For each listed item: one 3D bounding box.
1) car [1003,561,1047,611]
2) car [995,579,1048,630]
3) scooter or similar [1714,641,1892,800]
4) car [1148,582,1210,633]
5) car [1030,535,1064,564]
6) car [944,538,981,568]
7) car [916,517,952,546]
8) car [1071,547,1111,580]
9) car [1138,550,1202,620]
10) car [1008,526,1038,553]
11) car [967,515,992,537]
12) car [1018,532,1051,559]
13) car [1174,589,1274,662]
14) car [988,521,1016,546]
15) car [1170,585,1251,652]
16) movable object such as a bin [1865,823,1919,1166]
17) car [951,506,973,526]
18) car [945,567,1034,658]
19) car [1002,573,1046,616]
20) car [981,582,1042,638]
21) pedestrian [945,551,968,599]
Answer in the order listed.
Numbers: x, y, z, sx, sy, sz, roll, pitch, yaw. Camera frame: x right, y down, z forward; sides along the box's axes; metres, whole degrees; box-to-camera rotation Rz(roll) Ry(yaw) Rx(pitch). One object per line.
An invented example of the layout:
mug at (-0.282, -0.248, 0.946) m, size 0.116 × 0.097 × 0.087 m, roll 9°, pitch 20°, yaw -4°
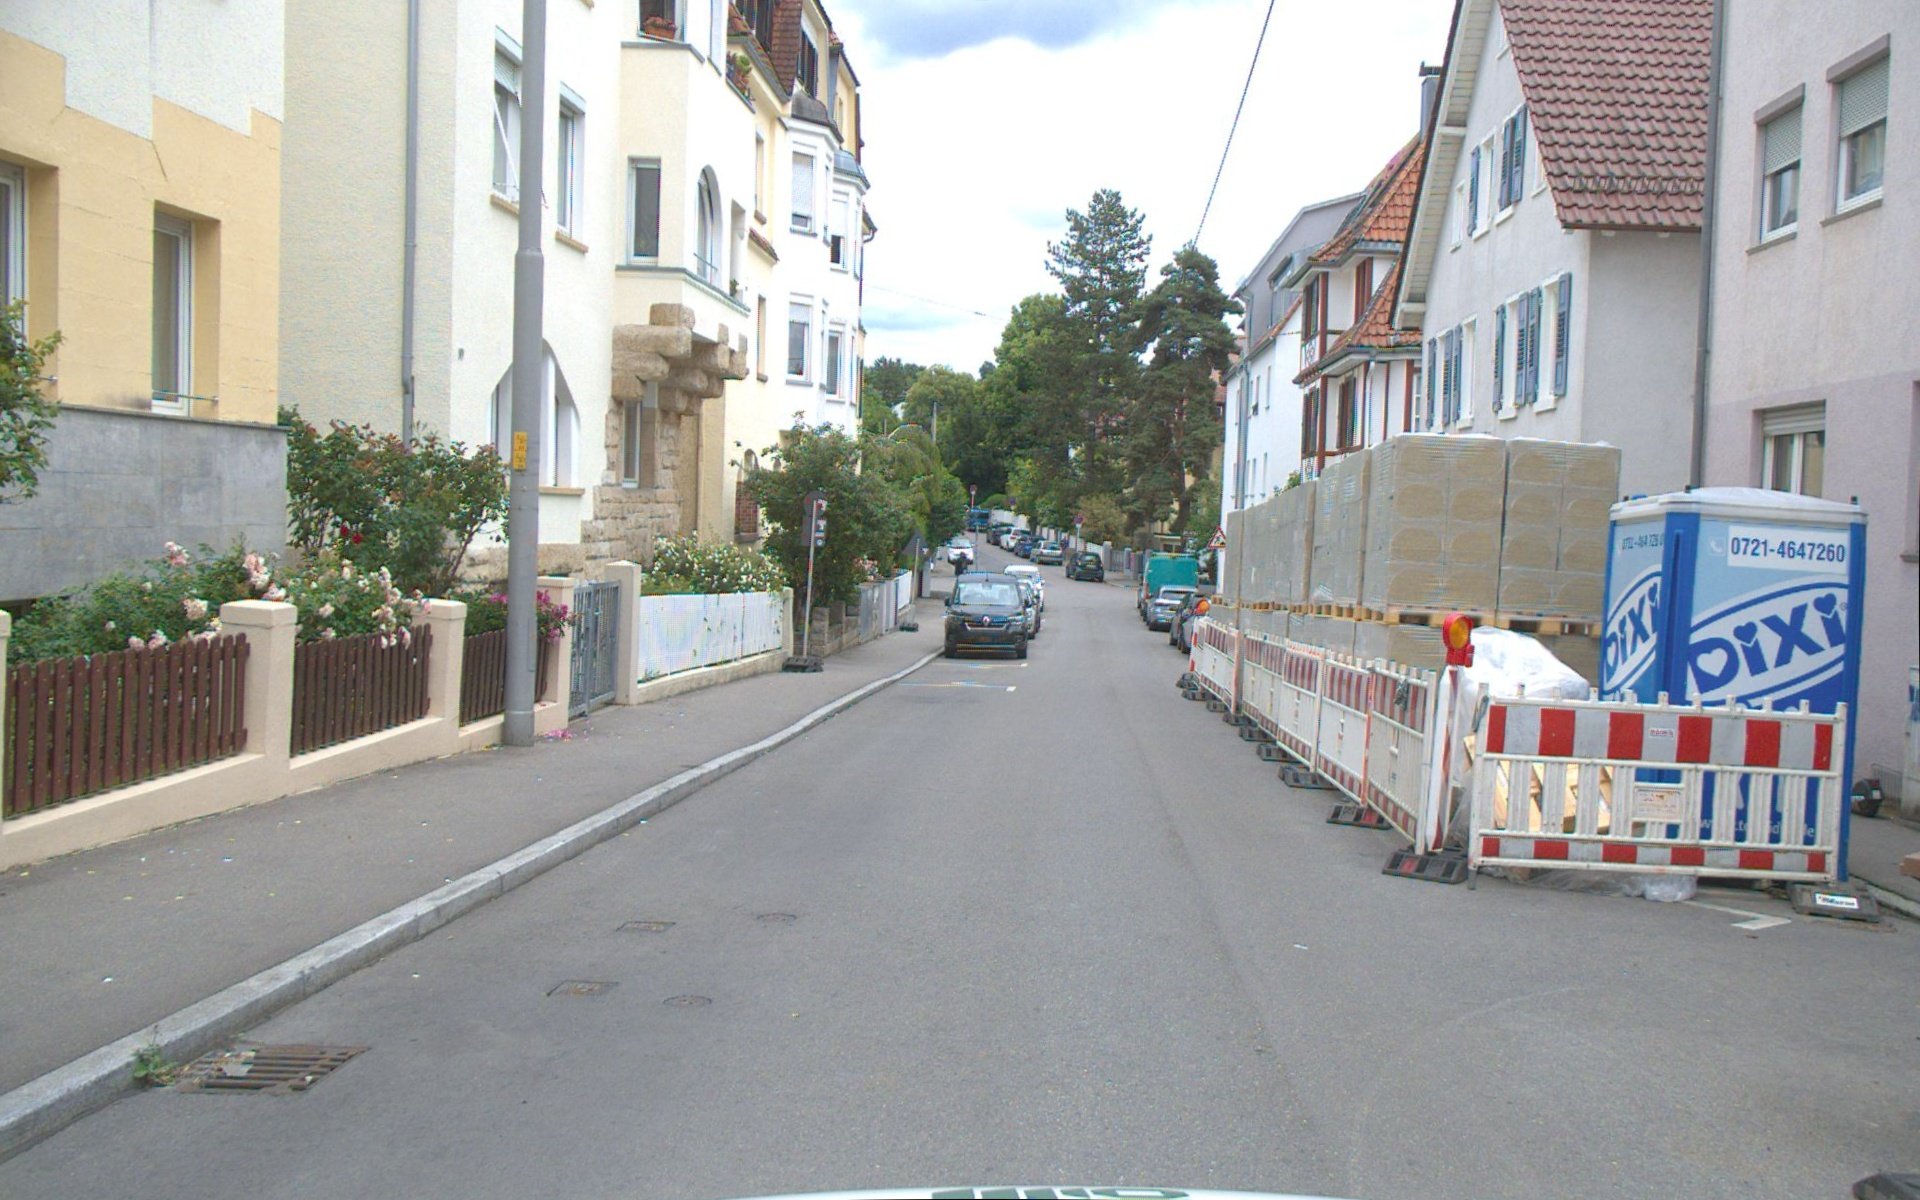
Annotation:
car at (2.589, -0.582, 65.339) m, size 1.637 × 1.685 × 3.866 m, roll 1°, pitch 4°, yaw 3°
car at (1.946, 0.112, 51.575) m, size 1.563 × 1.503 × 3.993 m, roll 1°, pitch 1°, yaw 3°
scooter or similar at (7.068, 0.975, 13.965) m, size 0.628 × 1.176 × 1.767 m, roll 1°, pitch 1°, yaw 2°
car at (7.190, 0.205, 54.609) m, size 1.689 × 1.473 × 3.883 m, roll 2°, pitch 2°, yaw 3°
car at (5.415, -3.180, 103.564) m, size 1.602 × 1.509 × 3.529 m, roll 3°, pitch 5°, yaw -5°
car at (0.144, -2.894, 101.225) m, size 1.641 × 1.685 × 3.857 m, roll 0°, pitch 4°, yaw -9°
car at (-1.923, -4.988, 119.946) m, size 1.869 × 1.908 × 4.586 m, roll 0°, pitch 4°, yaw -10°
car at (7.229, -2.009, 91.464) m, size 1.602 × 1.509 × 3.530 m, roll 3°, pitch 5°, yaw -4°
car at (7.720, -0.589, 61.146) m, size 1.939 × 2.403 × 4.279 m, roll 2°, pitch 2°, yaw 3°
car at (4.325, -4.182, 114.208) m, size 1.602 × 1.563 × 3.529 m, roll 3°, pitch 5°, yaw -5°
car at (1.559, -6.022, 134.606) m, size 1.602 × 1.563 × 3.529 m, roll 3°, pitch 5°, yaw -5°
car at (4.856, -3.585, 108.053) m, size 1.602 × 1.509 × 3.529 m, roll 3°, pitch 5°, yaw -5°
car at (6.138, 0.556, 38.861) m, size 1.781 × 1.467 × 4.453 m, roll 3°, pitch 1°, yaw 3°
car at (3.015, -4.832, 120.040) m, size 1.602 × 1.563 × 3.529 m, roll 3°, pitch 5°, yaw -5°
car at (6.519, 0.448, 43.393) m, size 1.654 × 1.546 × 3.882 m, roll 3°, pitch 1°, yaw 3°
movable object such as a bin at (2.856, 1.129, 4.685) m, size 0.394 × 0.908 × 0.361 m, roll 4°, pitch 1°, yaw 41°
car at (0.150, -7.349, 144.962) m, size 1.602 × 1.563 × 3.529 m, roll 3°, pitch 5°, yaw -5°
car at (0.638, 0.252, 36.433) m, size 1.807 × 1.847 × 4.545 m, roll 1°, pitch 0°, yaw 1°
car at (2.394, -0.230, 61.089) m, size 1.563 × 1.437 × 3.665 m, roll 1°, pitch 2°, yaw 3°
car at (1.475, 0.243, 46.513) m, size 1.608 × 1.441 × 3.986 m, roll 1°, pitch 1°, yaw 3°
pedestrian at (-0.144, -1.050, 69.404) m, size 0.774 × 1.966 × 0.920 m, roll 3°, pitch 1°, yaw 6°
